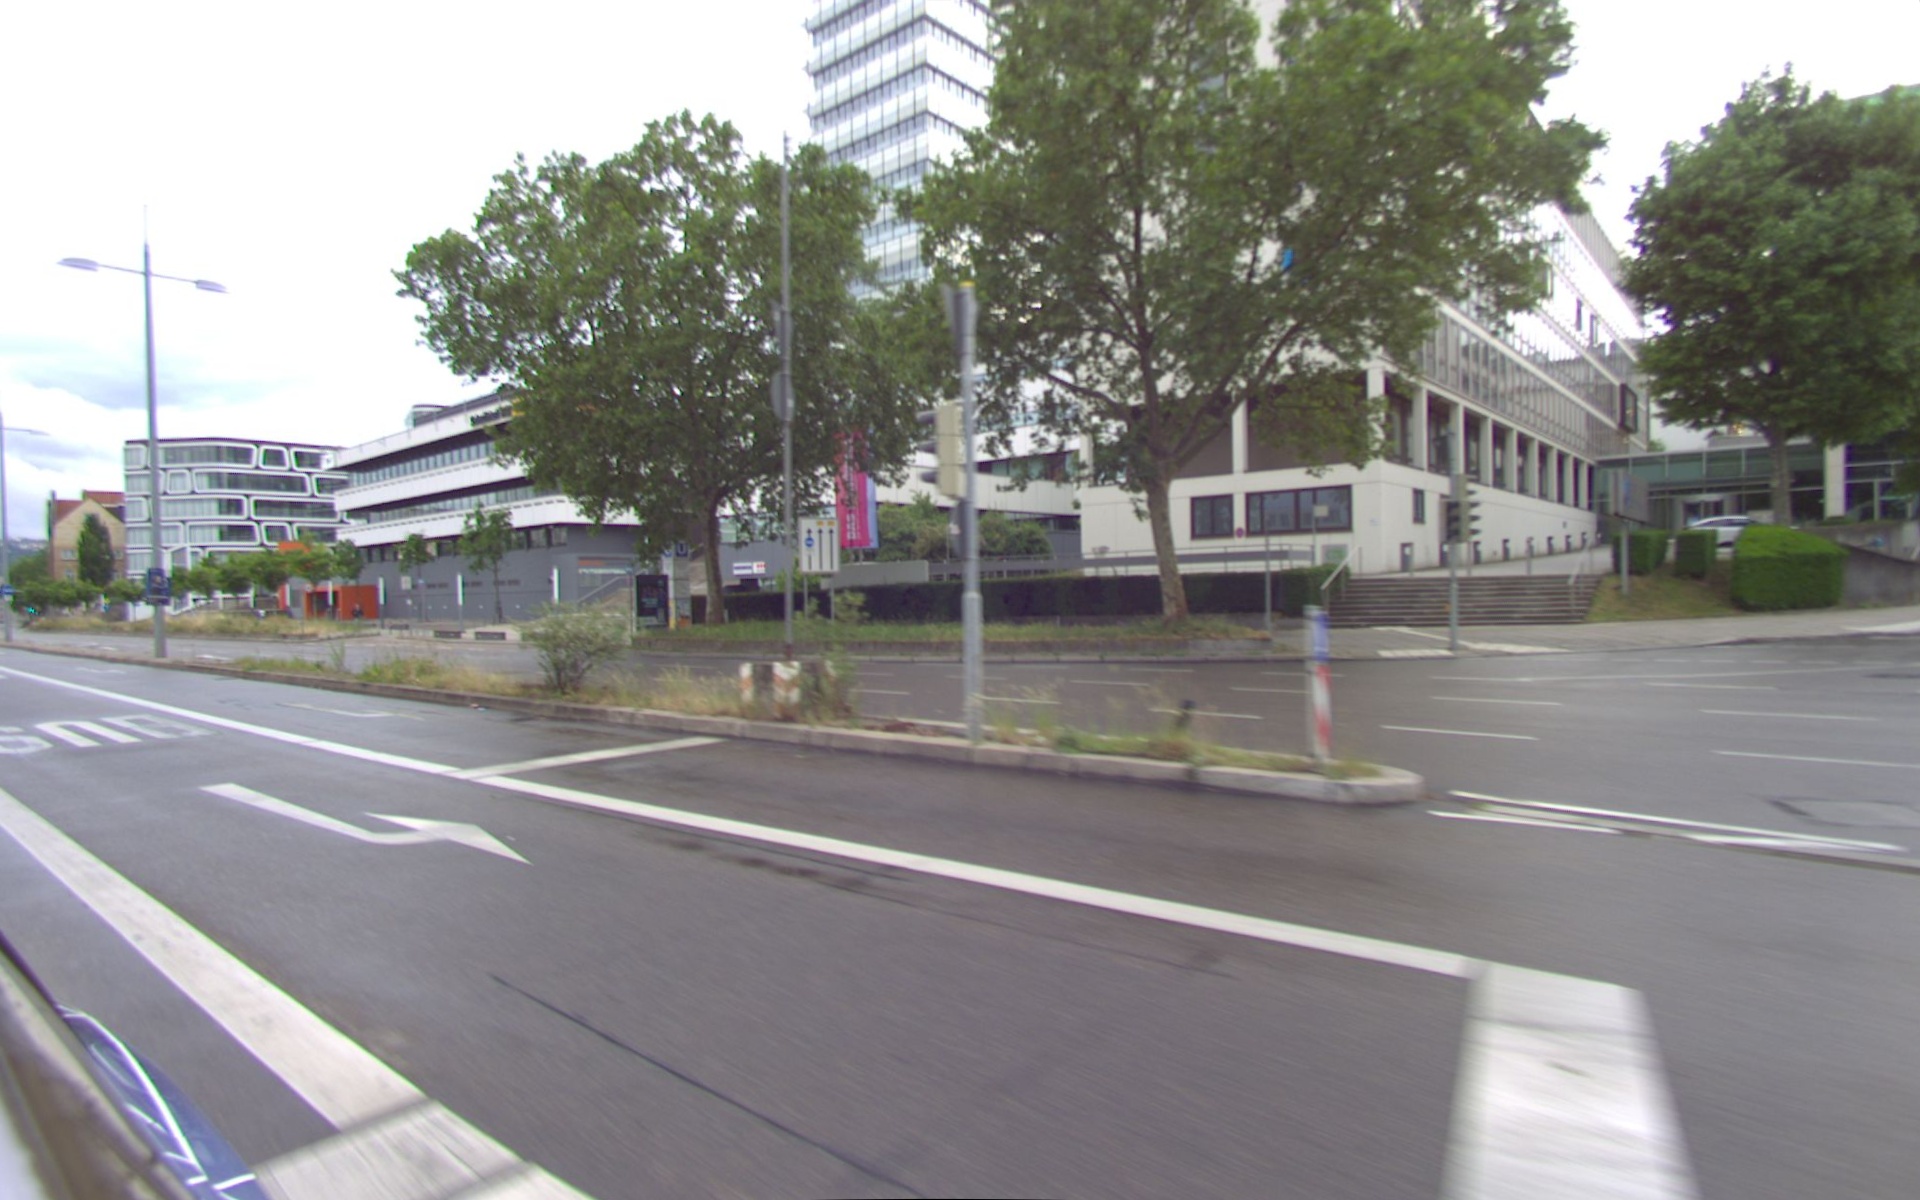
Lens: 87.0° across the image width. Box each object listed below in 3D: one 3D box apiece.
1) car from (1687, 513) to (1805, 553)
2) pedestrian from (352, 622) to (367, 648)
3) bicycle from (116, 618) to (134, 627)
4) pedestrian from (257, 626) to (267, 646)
[{"bbox_3d":[33.137,-2.783,42.717,3.879,1.420,1.510,-1,0,41],"label":"car"},{"bbox_3d":[-42.461,2.444,71.589,0.628,1.821,0.776,-1,0,41],"label":"pedestrian"},{"bbox_3d":[-89.553,2.403,108.525,1.638,0.864,0.608,-1,0,8],"label":"bicycle"},{"bbox_3d":[-62.886,3.222,91.143,0.628,1.821,0.623,-1,0,42],"label":"pedestrian"}]
